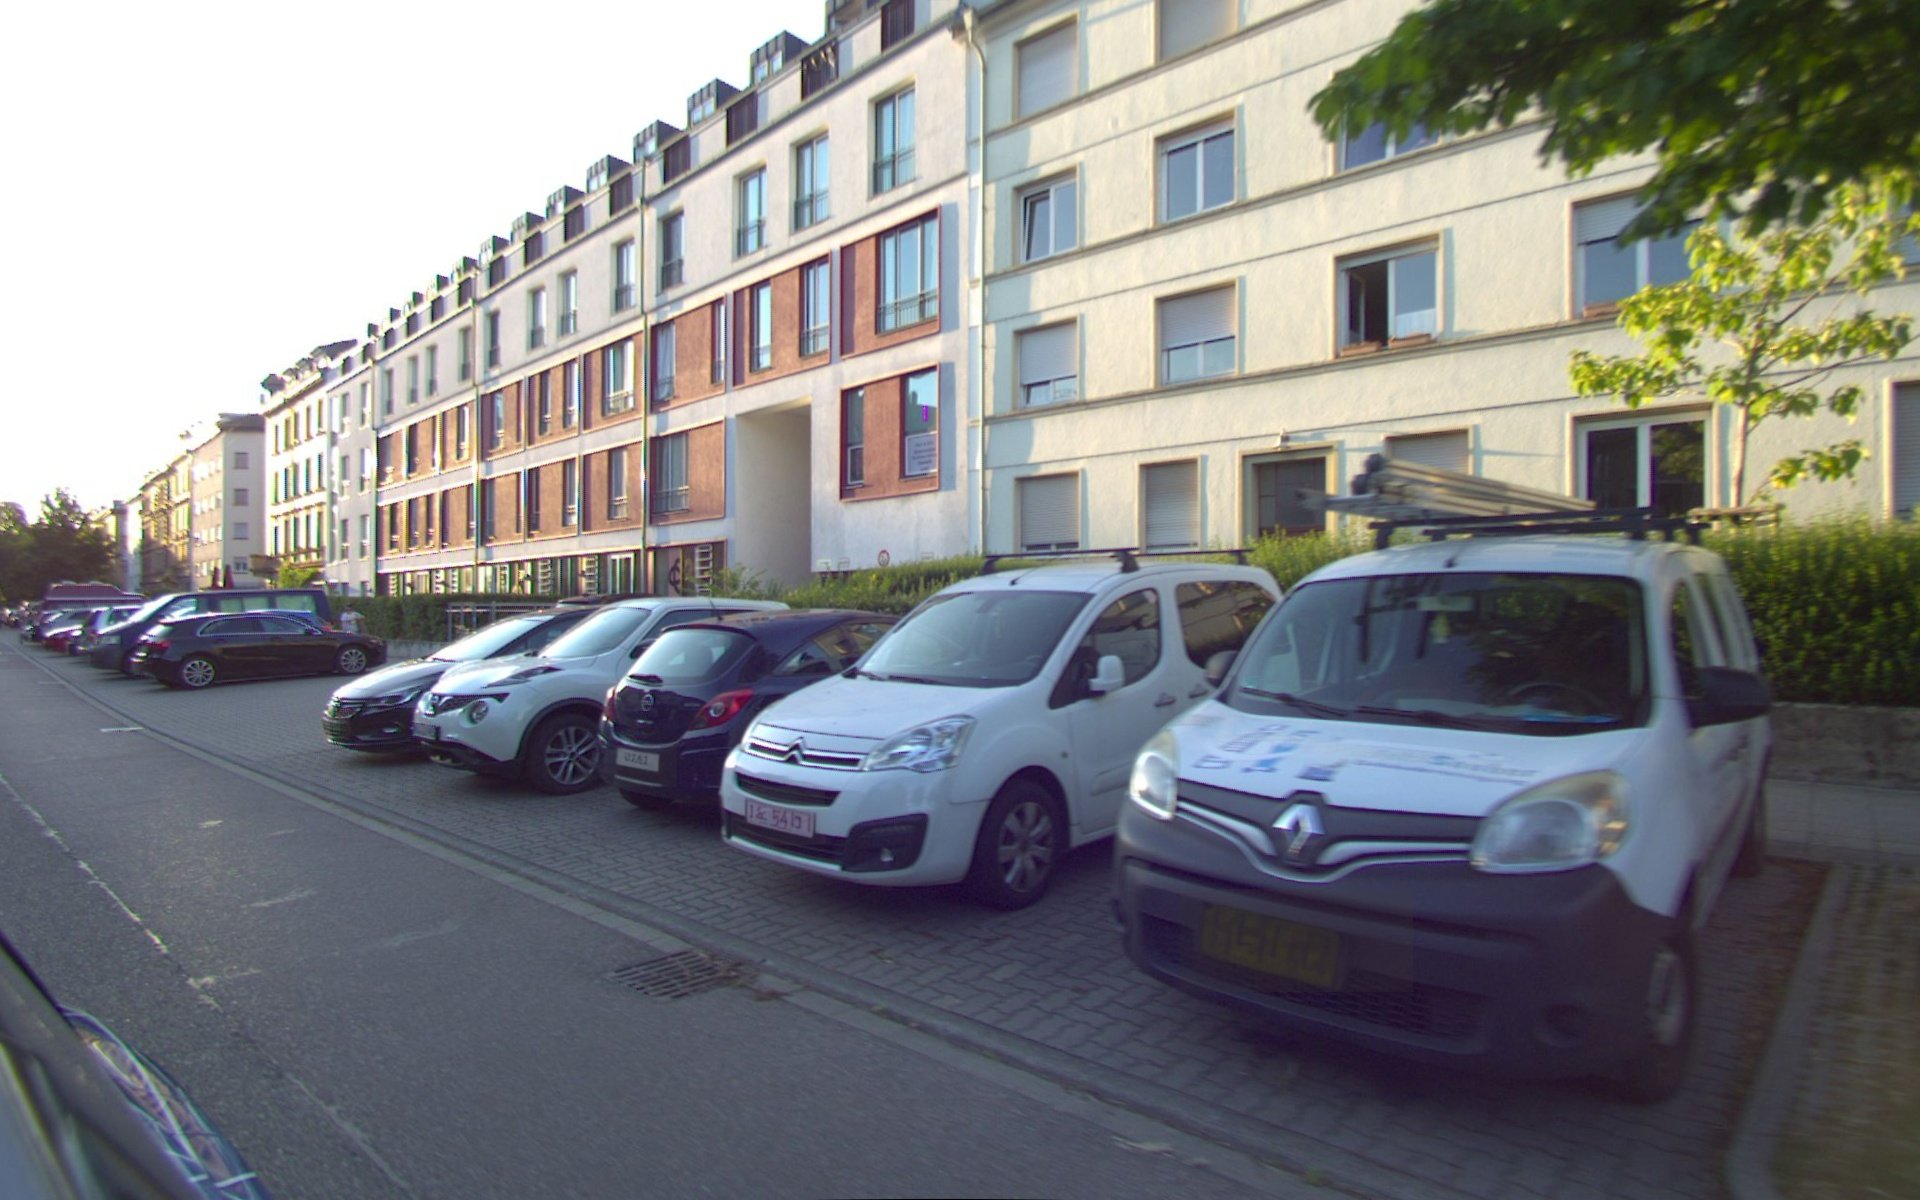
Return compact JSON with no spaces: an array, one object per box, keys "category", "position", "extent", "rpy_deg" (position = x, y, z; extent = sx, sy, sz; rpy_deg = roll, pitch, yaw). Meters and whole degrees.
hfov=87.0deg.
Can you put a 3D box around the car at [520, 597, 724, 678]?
[{"category":"car","position":[-7.531,0.778,22.844],"extent":[1.997,1.646,3.949],"rpy_deg":[-1,-1,38]}]

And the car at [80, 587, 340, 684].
[{"category":"car","position":[-17.818,0.786,24.217],"extent":[4.798,2.070,2.002],"rpy_deg":[0,-1,-44]}]

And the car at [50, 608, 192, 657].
[{"category":"car","position":[-30.218,1.120,36.491],"extent":[3.841,1.629,1.701],"rpy_deg":[-1,0,-44]}]

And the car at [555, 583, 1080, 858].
[{"category":"car","position":[-0.914,0.719,8.153],"extent":[1.755,1.495,3.946],"rpy_deg":[-1,2,42]}]

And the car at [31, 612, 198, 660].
[{"category":"car","position":[-28.676,1.177,34.410],"extent":[1.789,1.505,4.214],"rpy_deg":[-1,-1,45]}]

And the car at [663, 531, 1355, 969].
[{"category":"car","position":[0.607,0.584,6.438],"extent":[1.944,1.815,4.371],"rpy_deg":[-2,0,45]}]

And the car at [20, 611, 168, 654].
[{"category":"car","position":[-33.996,1.236,39.818],"extent":[1.706,1.536,4.288],"rpy_deg":[-1,0,44]}]

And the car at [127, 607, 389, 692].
[{"category":"car","position":[-14.294,0.934,20.797],"extent":[1.737,1.426,4.097],"rpy_deg":[-1,1,39]}]

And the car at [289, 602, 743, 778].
[{"category":"car","position":[-4.838,0.840,11.566],"extent":[1.827,1.462,4.363],"rpy_deg":[-1,2,41]}]

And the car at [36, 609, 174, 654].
[{"category":"car","position":[-32.252,1.159,38.237],"extent":[3.902,1.551,1.757],"rpy_deg":[-1,0,-44]}]

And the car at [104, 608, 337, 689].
[{"category":"car","position":[-16.166,0.988,22.268],"extent":[1.653,1.504,3.844],"rpy_deg":[-1,1,41]}]

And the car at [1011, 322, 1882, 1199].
[{"category":"car","position":[2.516,0.366,4.477],"extent":[4.460,2.086,2.001],"rpy_deg":[-4,1,-44]}]

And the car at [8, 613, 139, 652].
[{"category":"car","position":[-37.881,1.348,43.305],"extent":[1.802,1.427,3.939],"rpy_deg":[-1,1,38]}]

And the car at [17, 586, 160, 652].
[{"category":"car","position":[-36.023,0.754,41.908],"extent":[4.351,2.576,1.933],"rpy_deg":[0,-1,-45]}]

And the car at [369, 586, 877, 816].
[{"category":"car","position":[-2.965,0.738,9.600],"extent":[1.813,1.633,4.197],"rpy_deg":[-2,0,43]}]

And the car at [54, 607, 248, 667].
[{"category":"car","position":[-23.233,1.019,29.181],"extent":[2.049,1.601,3.952],"rpy_deg":[-1,-1,35]}]

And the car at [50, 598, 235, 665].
[{"category":"car","position":[-25.015,0.908,31.074],"extent":[1.896,1.910,4.135],"rpy_deg":[-1,-1,40]}]
